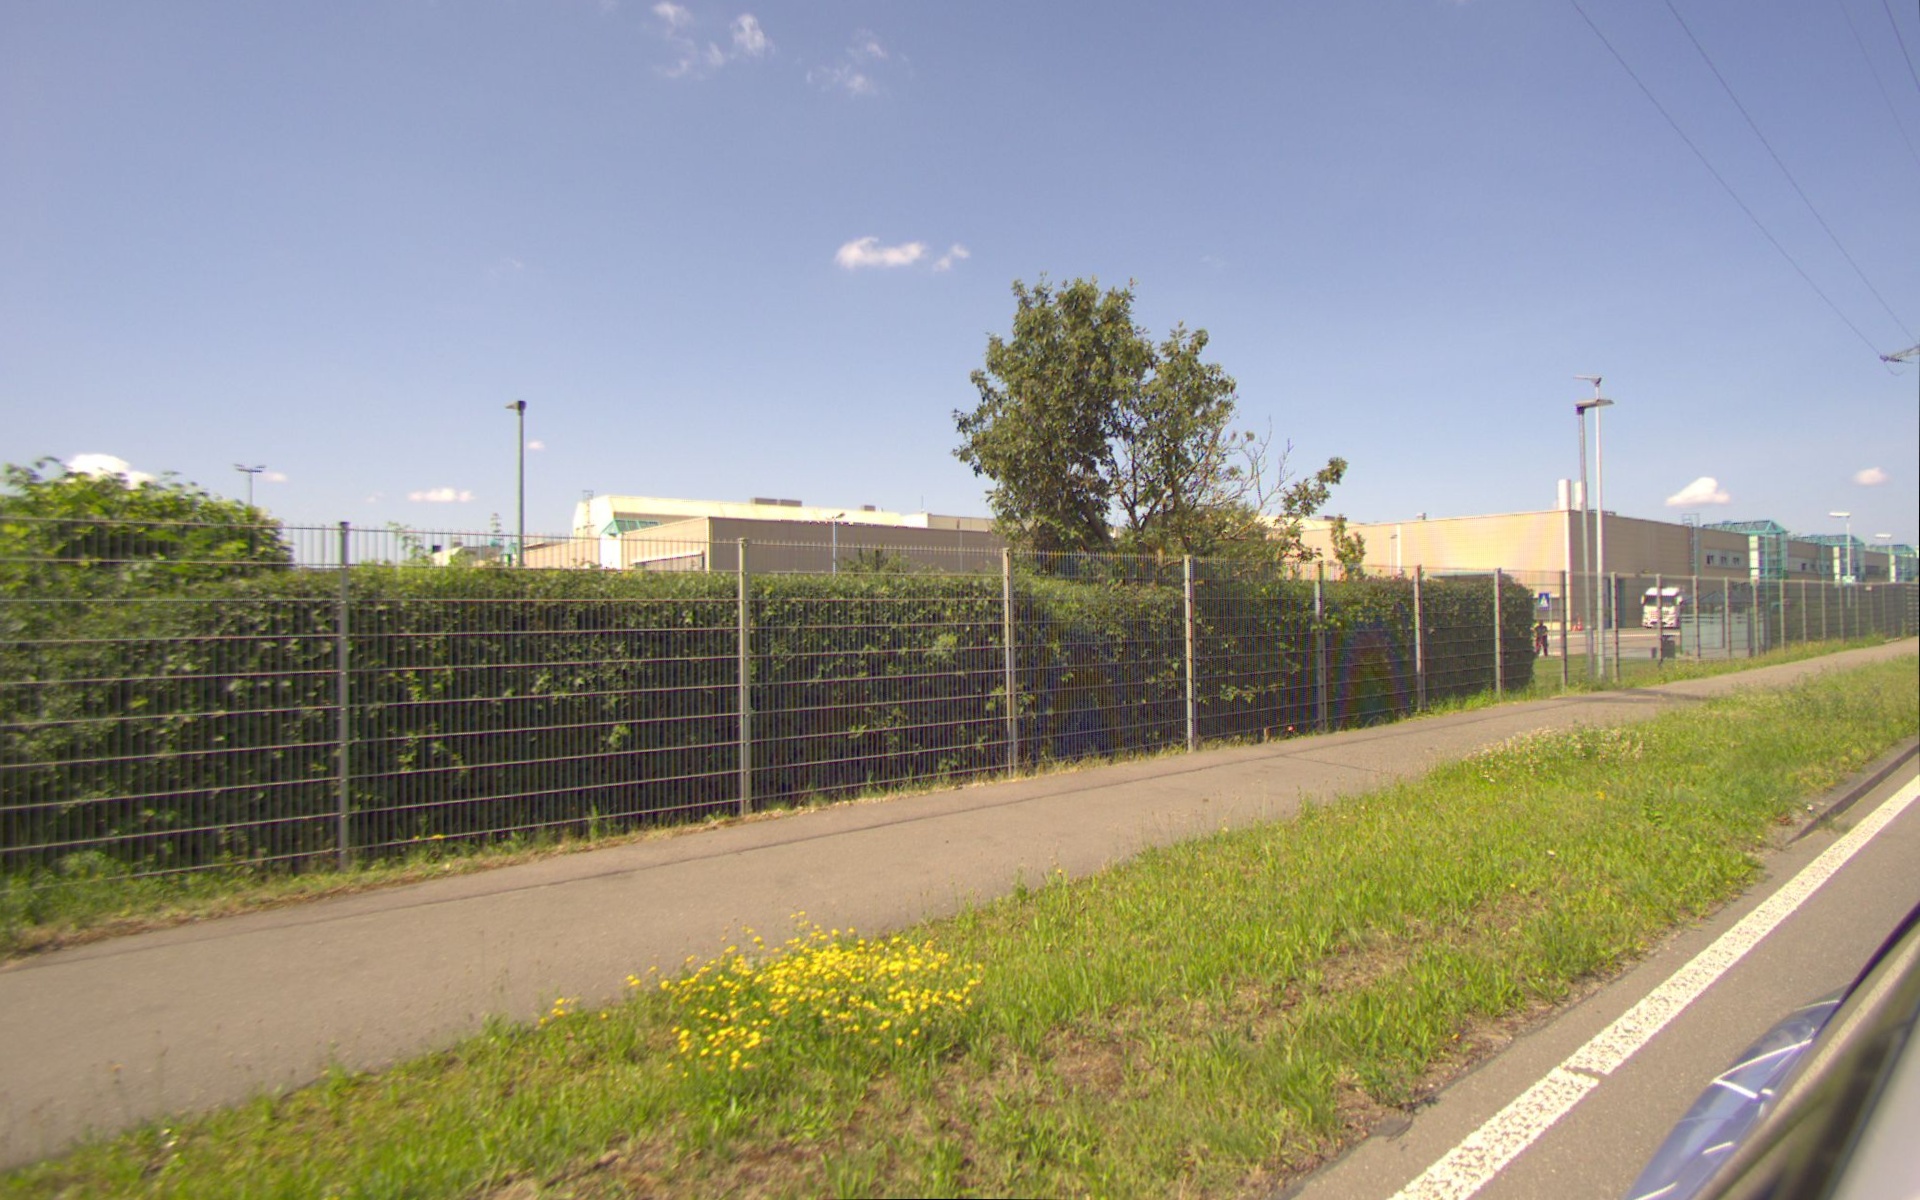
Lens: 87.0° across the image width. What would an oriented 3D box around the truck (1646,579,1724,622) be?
[{"bbox_3d":[67.933,-0.033,94.661,11.464,3.788,2.863,-1,1,-38],"label":"truck"}]
